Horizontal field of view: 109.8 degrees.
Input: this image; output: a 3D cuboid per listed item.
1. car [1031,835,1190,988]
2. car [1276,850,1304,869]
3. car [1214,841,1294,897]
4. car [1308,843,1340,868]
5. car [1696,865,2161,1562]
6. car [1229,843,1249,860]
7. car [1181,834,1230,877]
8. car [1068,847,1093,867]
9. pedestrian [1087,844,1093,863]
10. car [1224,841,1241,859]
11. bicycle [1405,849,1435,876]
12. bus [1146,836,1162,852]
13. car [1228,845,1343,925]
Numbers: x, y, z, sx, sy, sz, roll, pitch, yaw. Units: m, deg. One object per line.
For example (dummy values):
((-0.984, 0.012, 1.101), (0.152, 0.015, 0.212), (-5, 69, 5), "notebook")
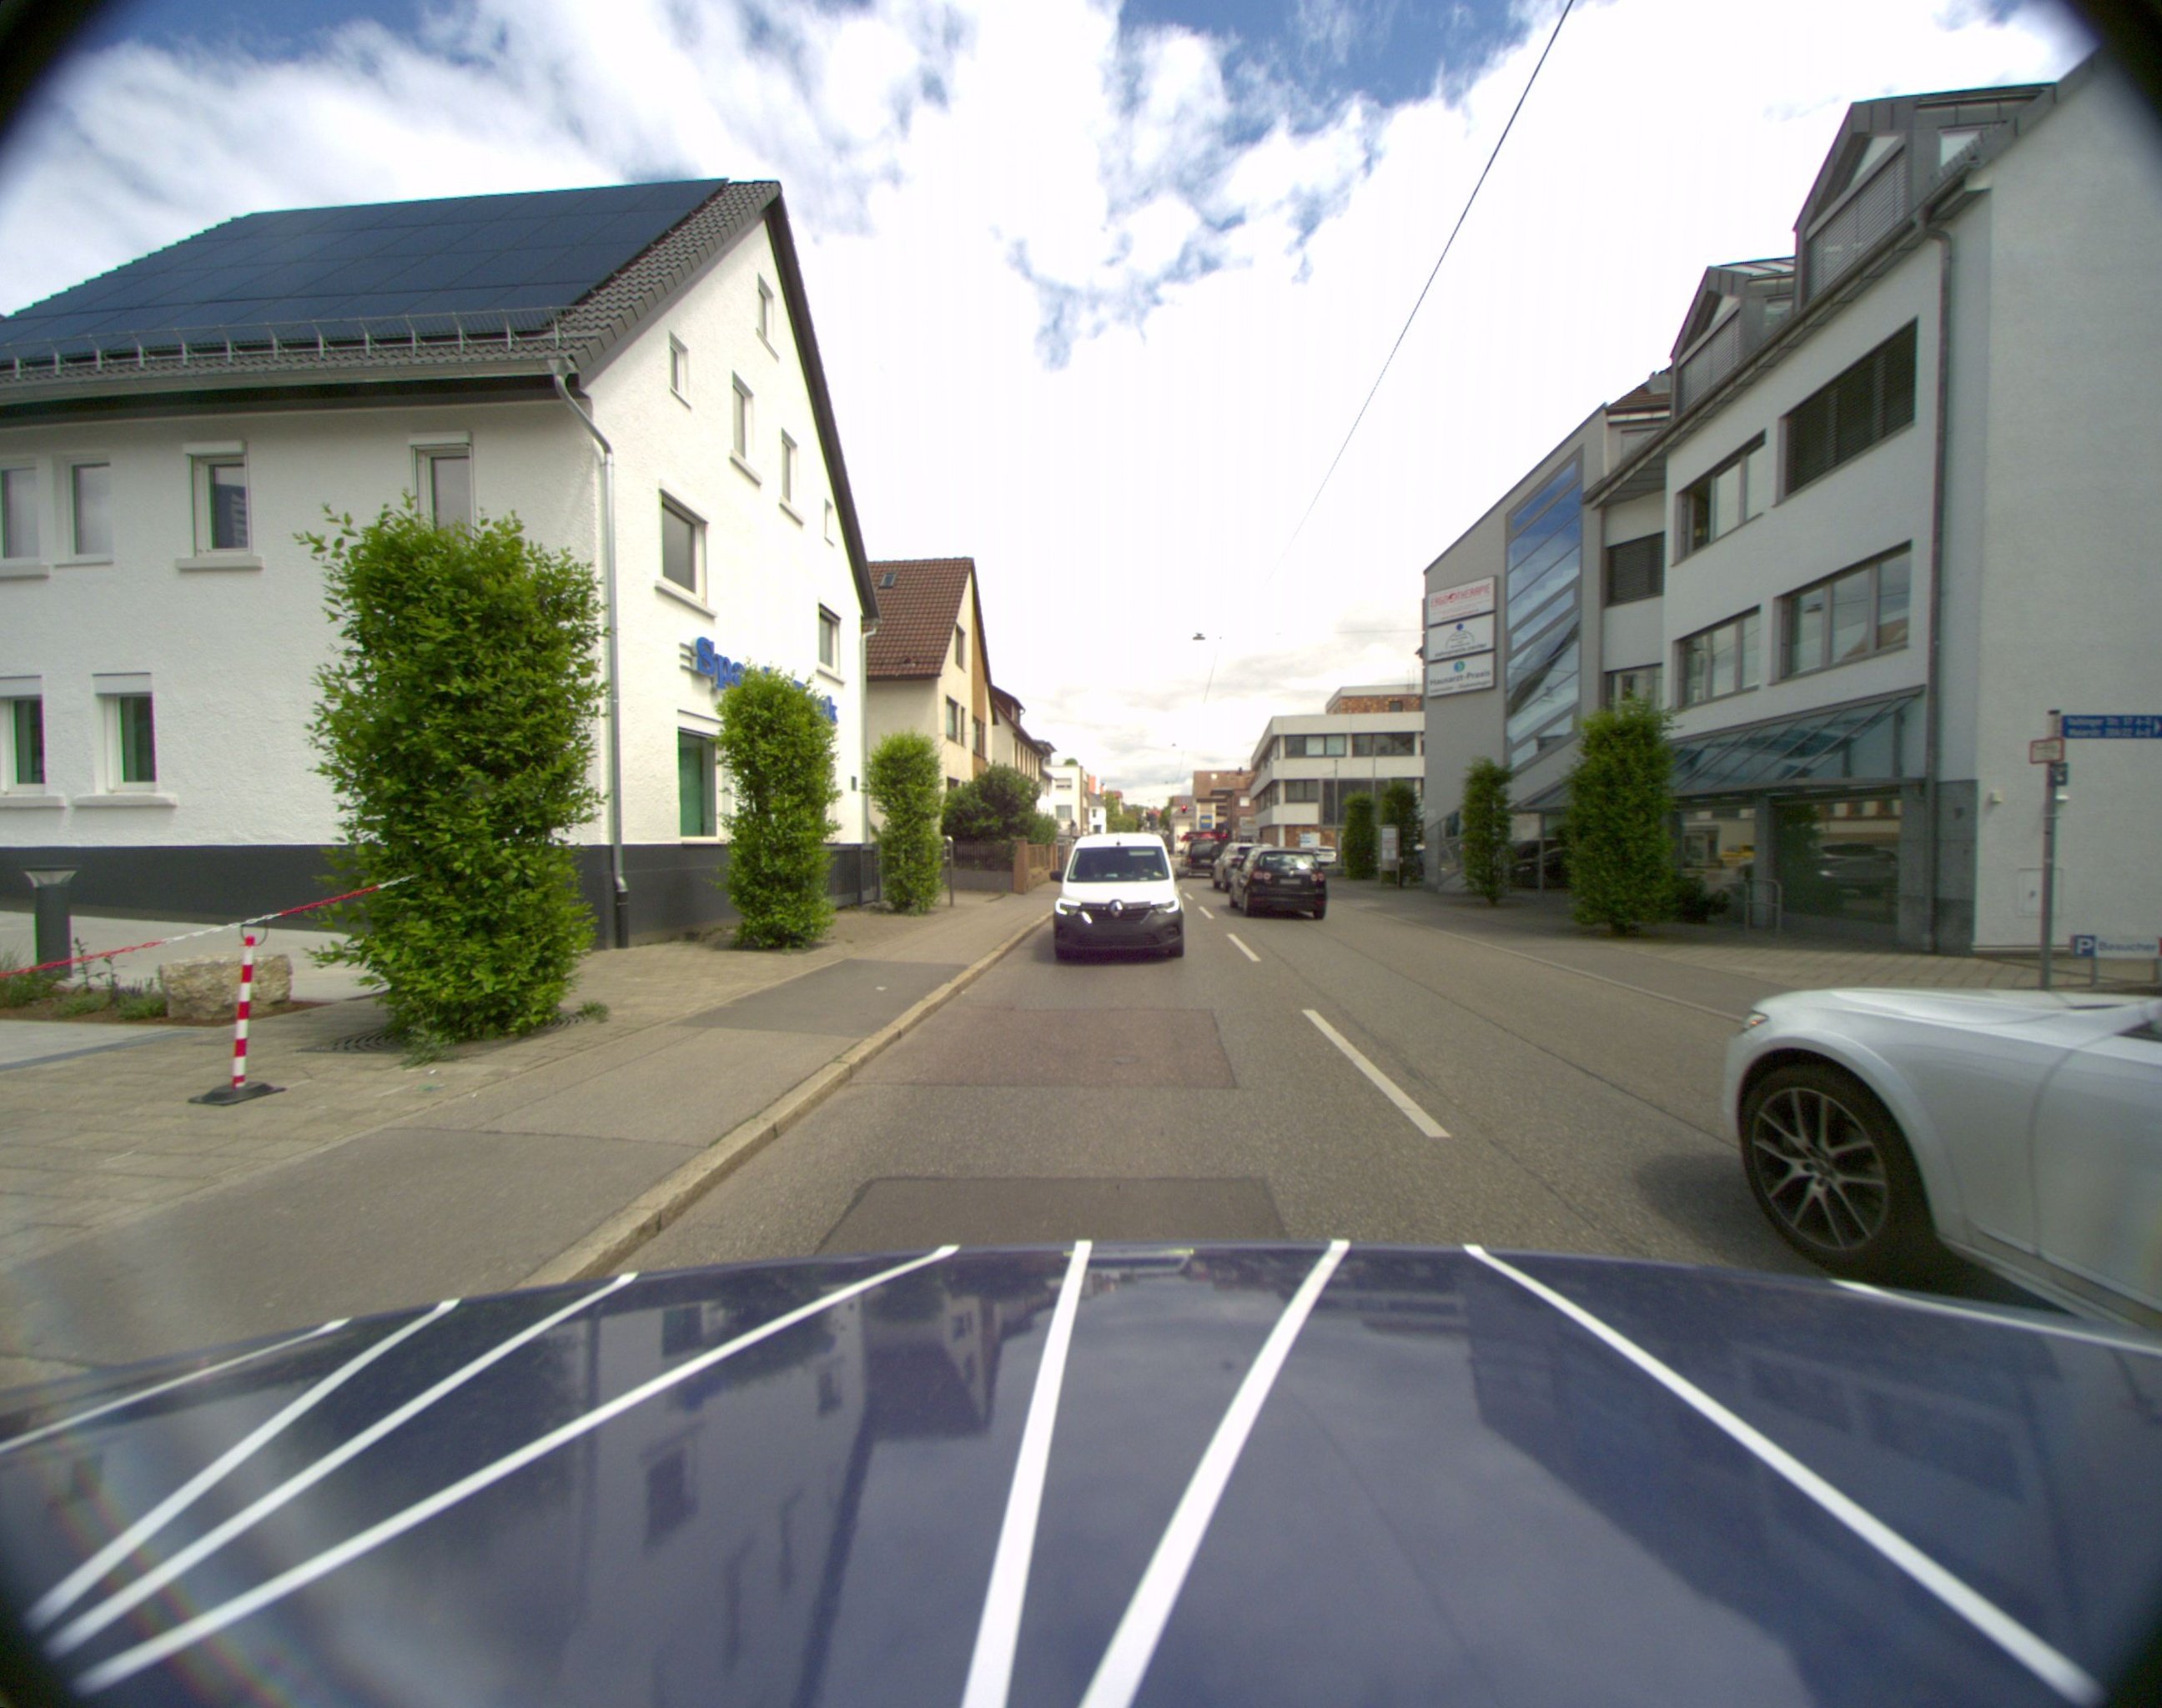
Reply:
((0.614, 0.636, 11.550), (1.870, 1.805, 5.008), (-1, 1, 6), "car")
((16.008, 0.394, 58.340), (1.823, 1.321, 4.239), (-1, 1, 12), "car")
((6.038, 0.452, 27.087), (1.990, 1.727, 4.796), (2, 1, 4), "car")
((18.365, 0.073, 57.580), (1.896, 1.687, 3.803), (2, 2, 12), "car")
((3.362, 0.895, 0.722), (1.901, 1.551, 4.802), (2, 1, 5), "car")
((15.472, -0.286, 74.239), (1.808, 1.521, 4.003), (-1, 1, 12), "car")
((6.601, 0.068, 40.864), (2.115, 2.139, 4.883), (1, 1, 4), "car")
((0.000, 0.216, 56.672), (1.655, 1.413, 4.000), (1, 1, 3), "car")
((0.978, -0.037, 82.369), (0.476, 2.010, 0.919), (1, 1, 6), "pedestrian")
((15.859, -0.462, 79.530), (1.701, 1.766, 4.464), (-1, 1, 12), "car")
((15.232, 0.368, 34.198), (0.643, 1.135, 1.687), (-1, 1, 1), "bicycle")
((15.971, -2.236, 166.466), (3.132, 3.239, 9.752), (-1, 1, 4), "bus")
((4.576, 0.612, 17.591), (1.836, 1.575, 4.038), (2, 1, 5), "car")
